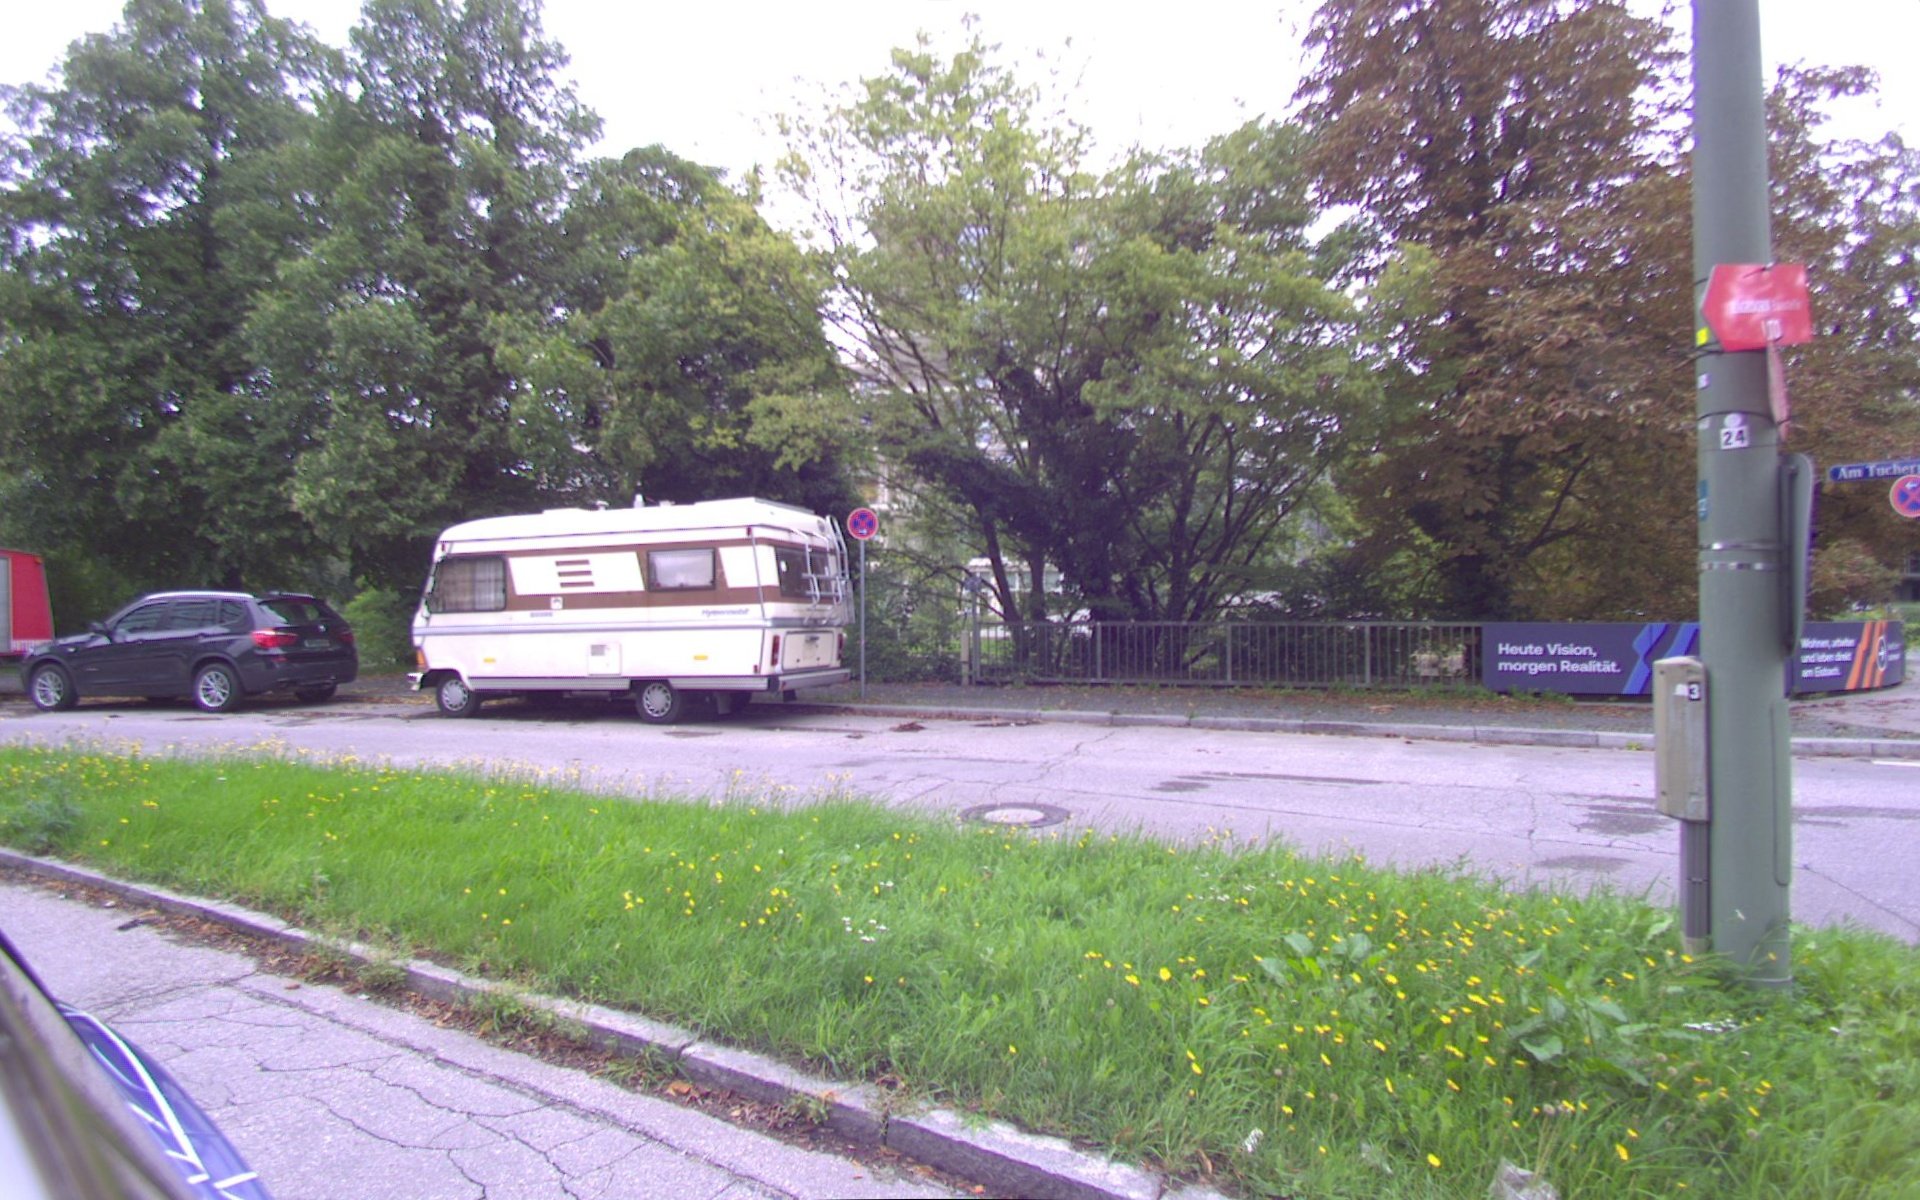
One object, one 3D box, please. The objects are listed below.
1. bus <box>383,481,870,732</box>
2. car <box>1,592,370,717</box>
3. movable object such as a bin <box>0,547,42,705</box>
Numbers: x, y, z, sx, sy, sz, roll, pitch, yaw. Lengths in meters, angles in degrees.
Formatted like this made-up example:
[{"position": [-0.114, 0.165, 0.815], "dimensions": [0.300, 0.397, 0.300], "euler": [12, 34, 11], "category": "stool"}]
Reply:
[{"position": [-4.209, 0.121, 12.950], "dimensions": [5.686, 2.719, 2.309], "euler": [-1, -1, 18], "category": "bus"}, {"position": [-11.177, 0.753, 14.727], "dimensions": [4.411, 1.662, 1.776], "euler": [0, -1, 10], "category": "car"}, {"position": [-18.061, 0.419, 15.997], "dimensions": [6.123, 2.477, 2.103], "euler": [-1, -1, 12], "category": "movable object such as a bin"}]
